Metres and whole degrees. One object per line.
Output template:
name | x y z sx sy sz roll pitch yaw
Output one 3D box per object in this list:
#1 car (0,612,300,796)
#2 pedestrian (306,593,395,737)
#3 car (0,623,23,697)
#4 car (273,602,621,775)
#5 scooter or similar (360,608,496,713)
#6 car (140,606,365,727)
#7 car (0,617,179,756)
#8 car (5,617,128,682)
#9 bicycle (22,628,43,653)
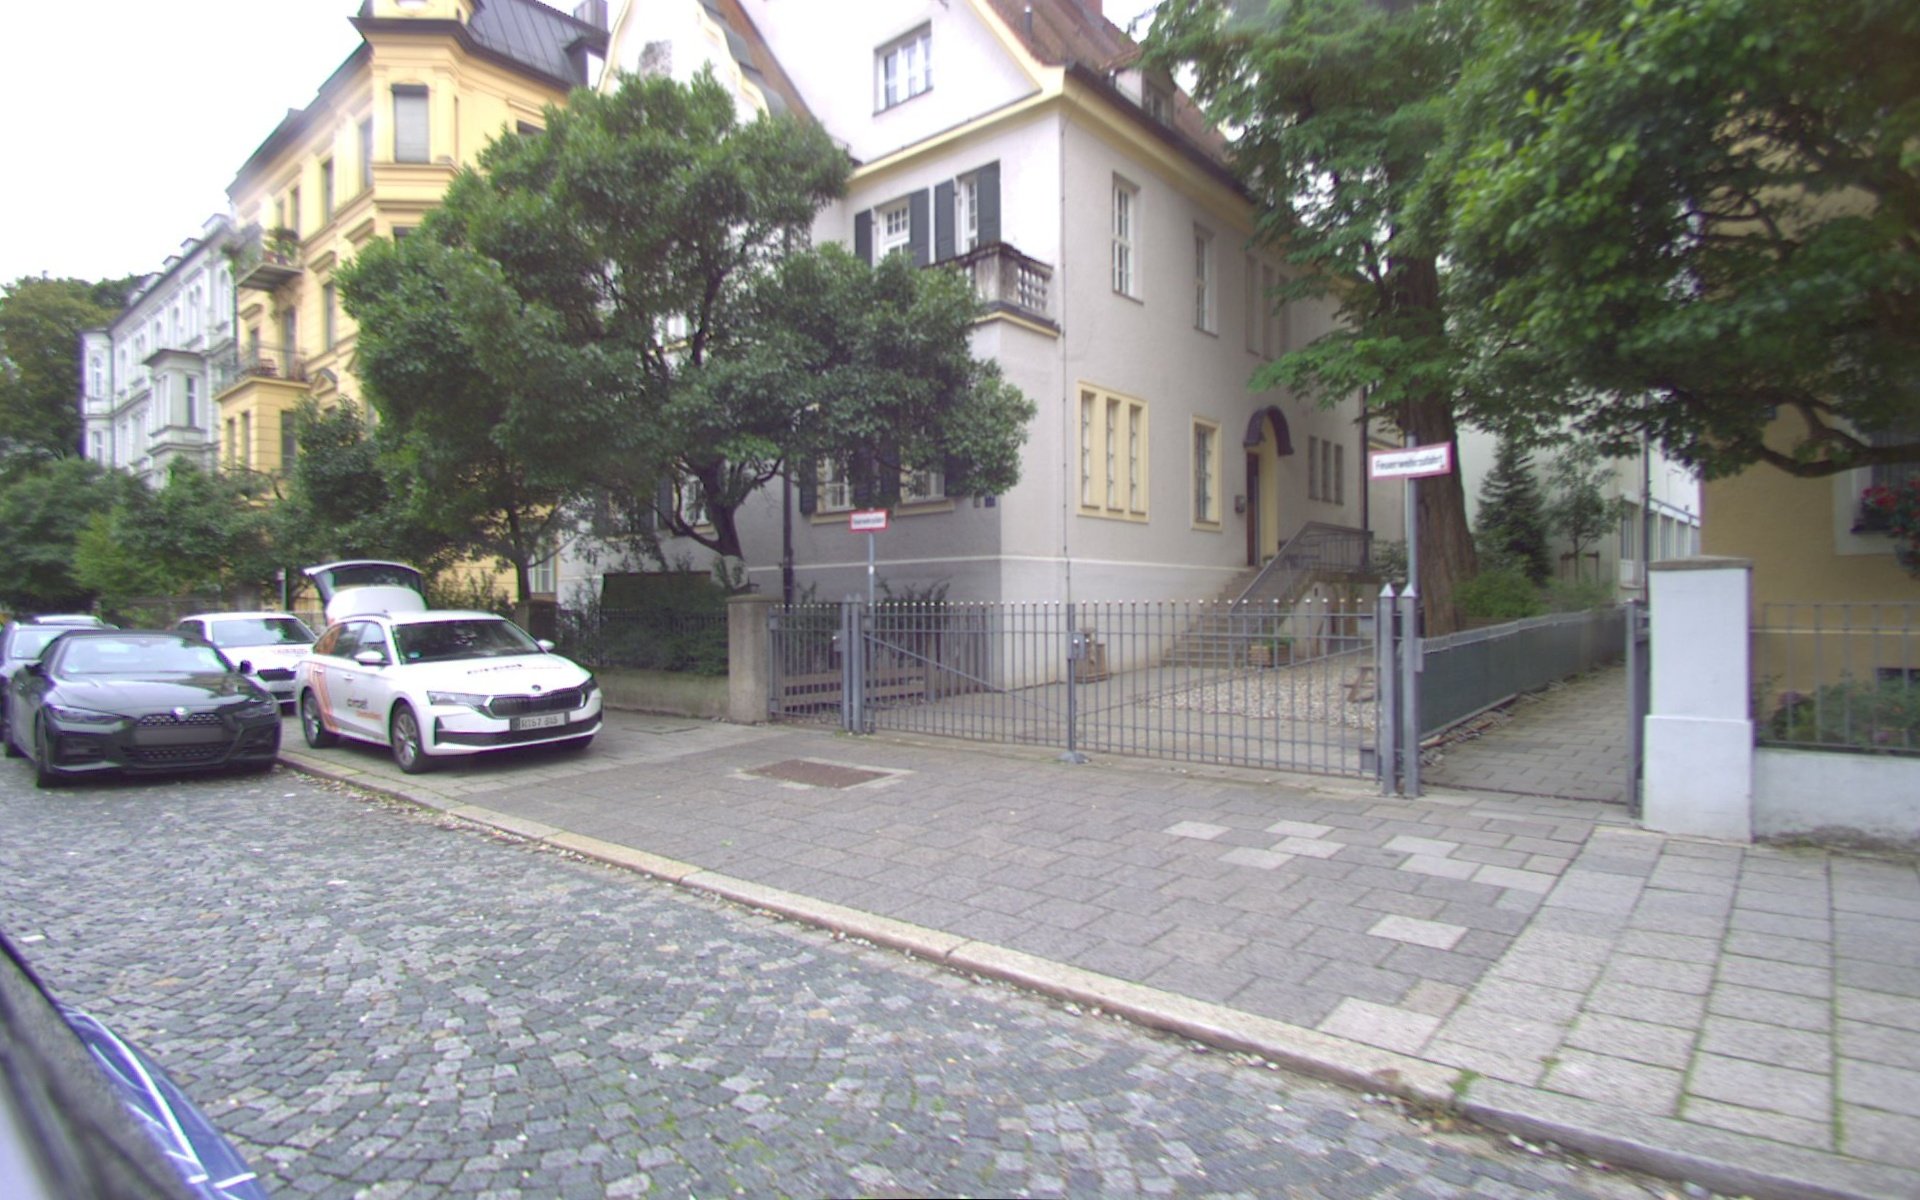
car | -8.626 0.910 10.434 4.911 1.466 1.795 -1 -3 42
pedestrian | -7.350 0.751 12.206 0.582 1.662 0.758 -2 0 42
car | -22.521 1.308 22.545 4.186 1.598 1.723 -1 -2 38
car | -5.628 0.800 10.812 4.559 1.427 1.757 -1 1 42
scooter or similar | -8.510 0.913 16.125 2.633 1.535 1.051 -2 -1 41
car | -10.974 0.923 15.566 4.463 1.548 1.722 -1 1 40
car | -12.324 1.053 13.787 4.533 1.615 1.722 -1 -2 40
car | -23.329 1.231 26.374 4.387 1.477 1.823 -1 0 41
bicycle | -41.239 1.802 44.996 1.694 1.059 0.458 -1 3 41
